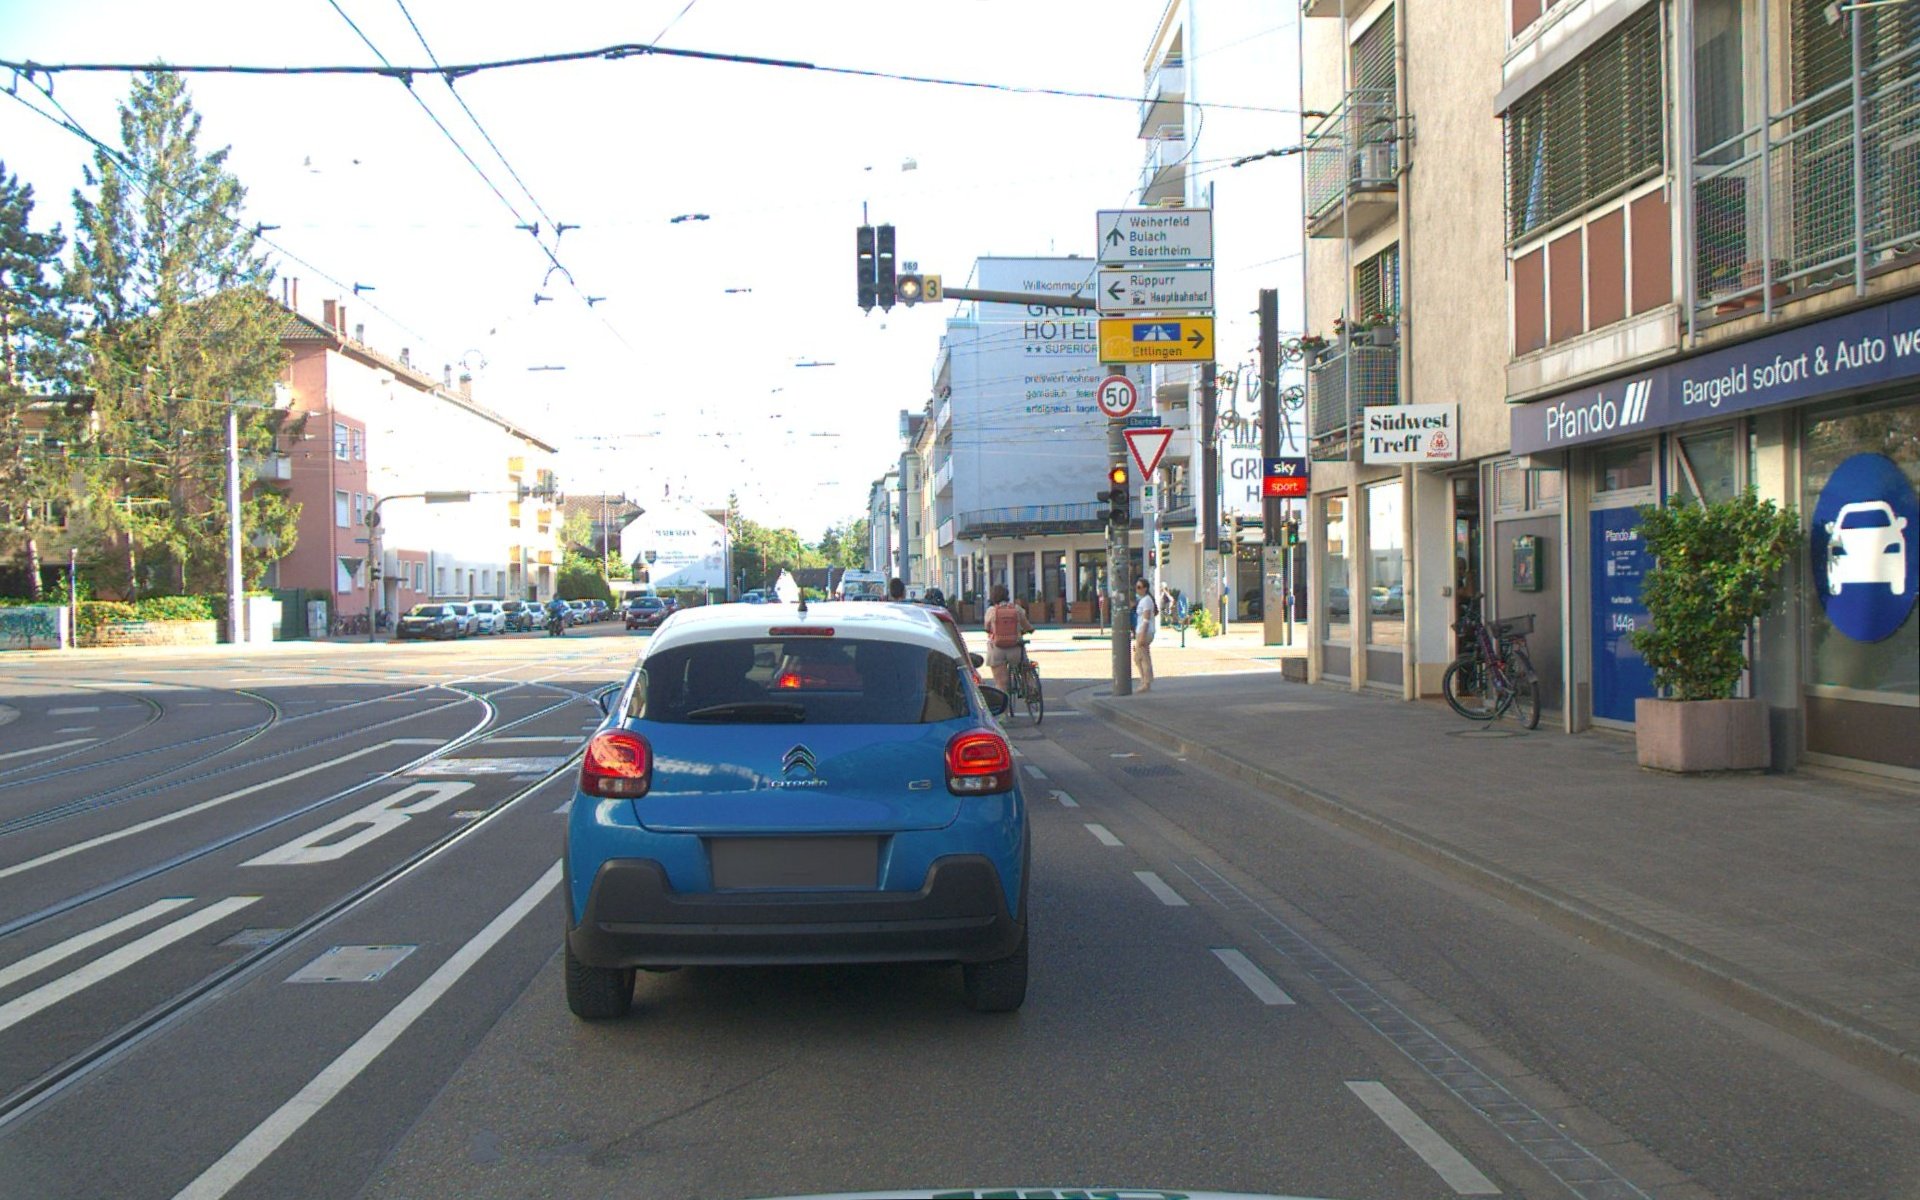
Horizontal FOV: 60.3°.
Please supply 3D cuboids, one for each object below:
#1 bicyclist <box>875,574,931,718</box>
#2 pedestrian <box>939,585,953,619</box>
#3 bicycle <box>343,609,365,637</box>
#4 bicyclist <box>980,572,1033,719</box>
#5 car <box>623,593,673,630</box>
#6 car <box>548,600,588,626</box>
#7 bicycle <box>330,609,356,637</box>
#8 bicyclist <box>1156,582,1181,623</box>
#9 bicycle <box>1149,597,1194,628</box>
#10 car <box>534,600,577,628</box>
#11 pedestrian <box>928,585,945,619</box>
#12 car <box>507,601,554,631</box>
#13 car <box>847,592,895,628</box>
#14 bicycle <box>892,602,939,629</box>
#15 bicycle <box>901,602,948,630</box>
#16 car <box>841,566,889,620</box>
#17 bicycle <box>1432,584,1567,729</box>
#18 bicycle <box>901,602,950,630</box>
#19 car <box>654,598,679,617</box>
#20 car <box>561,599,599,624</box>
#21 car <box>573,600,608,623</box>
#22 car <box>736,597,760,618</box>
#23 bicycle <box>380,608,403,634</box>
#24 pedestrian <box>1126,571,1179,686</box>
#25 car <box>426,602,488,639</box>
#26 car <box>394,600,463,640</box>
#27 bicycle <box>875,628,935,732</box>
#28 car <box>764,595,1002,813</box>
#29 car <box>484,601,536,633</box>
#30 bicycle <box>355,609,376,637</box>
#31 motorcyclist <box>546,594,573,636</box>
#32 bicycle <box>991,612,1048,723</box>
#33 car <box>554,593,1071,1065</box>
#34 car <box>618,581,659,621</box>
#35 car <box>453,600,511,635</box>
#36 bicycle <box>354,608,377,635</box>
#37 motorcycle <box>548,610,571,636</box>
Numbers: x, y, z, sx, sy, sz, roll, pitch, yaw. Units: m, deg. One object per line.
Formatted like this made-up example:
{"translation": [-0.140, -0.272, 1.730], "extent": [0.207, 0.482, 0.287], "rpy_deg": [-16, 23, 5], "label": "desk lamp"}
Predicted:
{"translation": [-0.683, 0.535, 19.597], "extent": [0.604, 1.658, 0.759], "rpy_deg": [-1, 0, -5], "label": "bicyclist"}
{"translation": [-0.579, 0.079, 69.974], "extent": [0.459, 1.445, 0.525], "rpy_deg": [-1, 0, -13], "label": "pedestrian"}
{"translation": [-24.582, 0.930, 67.098], "extent": [0.527, 1.101, 1.905], "rpy_deg": [-1, 0, -11], "label": "bicycle"}
{"translation": [0.572, 0.549, 20.576], "extent": [0.588, 1.776, 1.084], "rpy_deg": [-1, 0, -1], "label": "bicyclist"}
{"translation": [-14.521, 0.501, 77.109], "extent": [1.967, 1.656, 5.045], "rpy_deg": [-1, 0, -7], "label": "car"}
{"translation": [-24.401, 0.807, 102.971], "extent": [1.913, 1.545, 3.995], "rpy_deg": [-1, 0, -6], "label": "car"}
{"translation": [-24.976, 0.920, 66.973], "extent": [0.628, 1.101, 1.905], "rpy_deg": [-1, 0, -11], "label": "bicycle"}
{"translation": [7.531, 0.080, 59.599], "extent": [0.713, 1.459, 0.605], "rpy_deg": [-1, 0, 27], "label": "bicyclist"}
{"translation": [7.611, 0.457, 59.573], "extent": [1.459, 1.110, 0.605], "rpy_deg": [-1, 0, 27], "label": "bicycle"}
{"translation": [-23.927, 0.822, 97.974], "extent": [1.913, 1.545, 3.995], "rpy_deg": [-1, 0, -6], "label": "car"}
{"translation": [-1.004, 0.084, 70.219], "extent": [0.514, 1.445, 0.547], "rpy_deg": [-1, 0, 19], "label": "pedestrian"}
{"translation": [-23.756, 0.856, 91.549], "extent": [1.913, 1.545, 3.995], "rpy_deg": [-1, 0, -6], "label": "car"}
{"translation": [-3.670, 0.379, 67.721], "extent": [1.752, 1.383, 3.909], "rpy_deg": [-1, 0, -6], "label": "car"}
{"translation": [-1.854, 0.637, 68.252], "extent": [1.868, 1.083, 0.641], "rpy_deg": [-1, 0, -8], "label": "bicycle"}
{"translation": [-1.440, 0.660, 67.065], "extent": [1.868, 1.083, 0.641], "rpy_deg": [-1, 0, -8], "label": "bicycle"}
{"translation": [-4.225, -0.322, 73.159], "extent": [2.039, 2.309, 5.646], "rpy_deg": [0, 0, -4], "label": "car"}
{"translation": [5.117, 0.501, 15.800], "extent": [0.627, 1.286, 1.910], "rpy_deg": [-1, 0, -1], "label": "bicycle"}
{"translation": [-1.387, 0.635, 65.760], "extent": [1.868, 1.083, 0.641], "rpy_deg": [-1, 0, -8], "label": "bicycle"}
{"translation": [-25.565, 0.641, 144.147], "extent": [1.913, 1.545, 3.995], "rpy_deg": [-1, 0, -6], "label": "car"}
{"translation": [-24.842, 0.749, 108.245], "extent": [1.913, 1.545, 3.995], "rpy_deg": [-1, 0, -6], "label": "car"}
{"translation": [-25.558, 0.788, 114.575], "extent": [1.913, 1.545, 3.995], "rpy_deg": [-1, 0, -6], "label": "car"}
{"translation": [-21.801, 0.803, 170.474], "extent": [2.293, 2.074, 5.044], "rpy_deg": [-1, 0, -6], "label": "car"}
{"translation": [-25.666, 0.942, 74.674], "extent": [0.597, 1.101, 1.908], "rpy_deg": [-1, 0, -7], "label": "bicycle"}
{"translation": [2.824, 0.409, 24.323], "extent": [0.735, 1.663, 0.740], "rpy_deg": [-1, 0, 5], "label": "pedestrian"}
{"translation": [-22.547, 0.877, 74.237], "extent": [1.913, 1.545, 4.040], "rpy_deg": [-1, 0, -6], "label": "car"}
{"translation": [-22.008, 0.792, 68.632], "extent": [1.913, 1.545, 3.995], "rpy_deg": [-1, 0, -6], "label": "car"}
{"translation": [-0.667, 0.918, 19.701], "extent": [0.604, 1.123, 1.884], "rpy_deg": [-1, 0, -5], "label": "bicycle"}
{"translation": [-0.675, 0.725, 13.540], "extent": [1.647, 1.488, 3.997], "rpy_deg": [1, 0, -4], "label": "car"}
{"translation": [-23.227, 0.840, 85.500], "extent": [1.913, 1.545, 3.995], "rpy_deg": [-1, 0, -6], "label": "car"}
{"translation": [-24.224, 0.937, 67.397], "extent": [0.527, 1.101, 1.905], "rpy_deg": [-1, 0, -11], "label": "bicycle"}
{"translation": [-16.199, 0.606, 66.934], "extent": [0.973, 1.659, 0.737], "rpy_deg": [-1, 0, -10], "label": "motorcyclist"}
{"translation": [0.726, 0.812, 20.617], "extent": [0.601, 1.286, 1.910], "rpy_deg": [-1, 0, -1], "label": "bicycle"}
{"translation": [-0.608, 0.730, 7.331], "extent": [1.647, 1.488, 3.997], "rpy_deg": [1, 0, -4], "label": "car"}
{"translation": [-23.216, 0.066, 119.559], "extent": [2.446, 2.759, 5.828], "rpy_deg": [-1, 0, -7], "label": "car"}
{"translation": [-22.749, 0.820, 78.843], "extent": [1.913, 1.545, 3.995], "rpy_deg": [-1, 0, -6], "label": "car"}
{"translation": [-25.868, 0.929, 71.969], "extent": [0.527, 1.101, 1.908], "rpy_deg": [-1, 0, -7], "label": "bicycle"}
{"translation": [-16.219, 0.939, 67.002], "extent": [0.738, 0.993, 2.092], "rpy_deg": [-1, 0, -9], "label": "motorcycle"}
